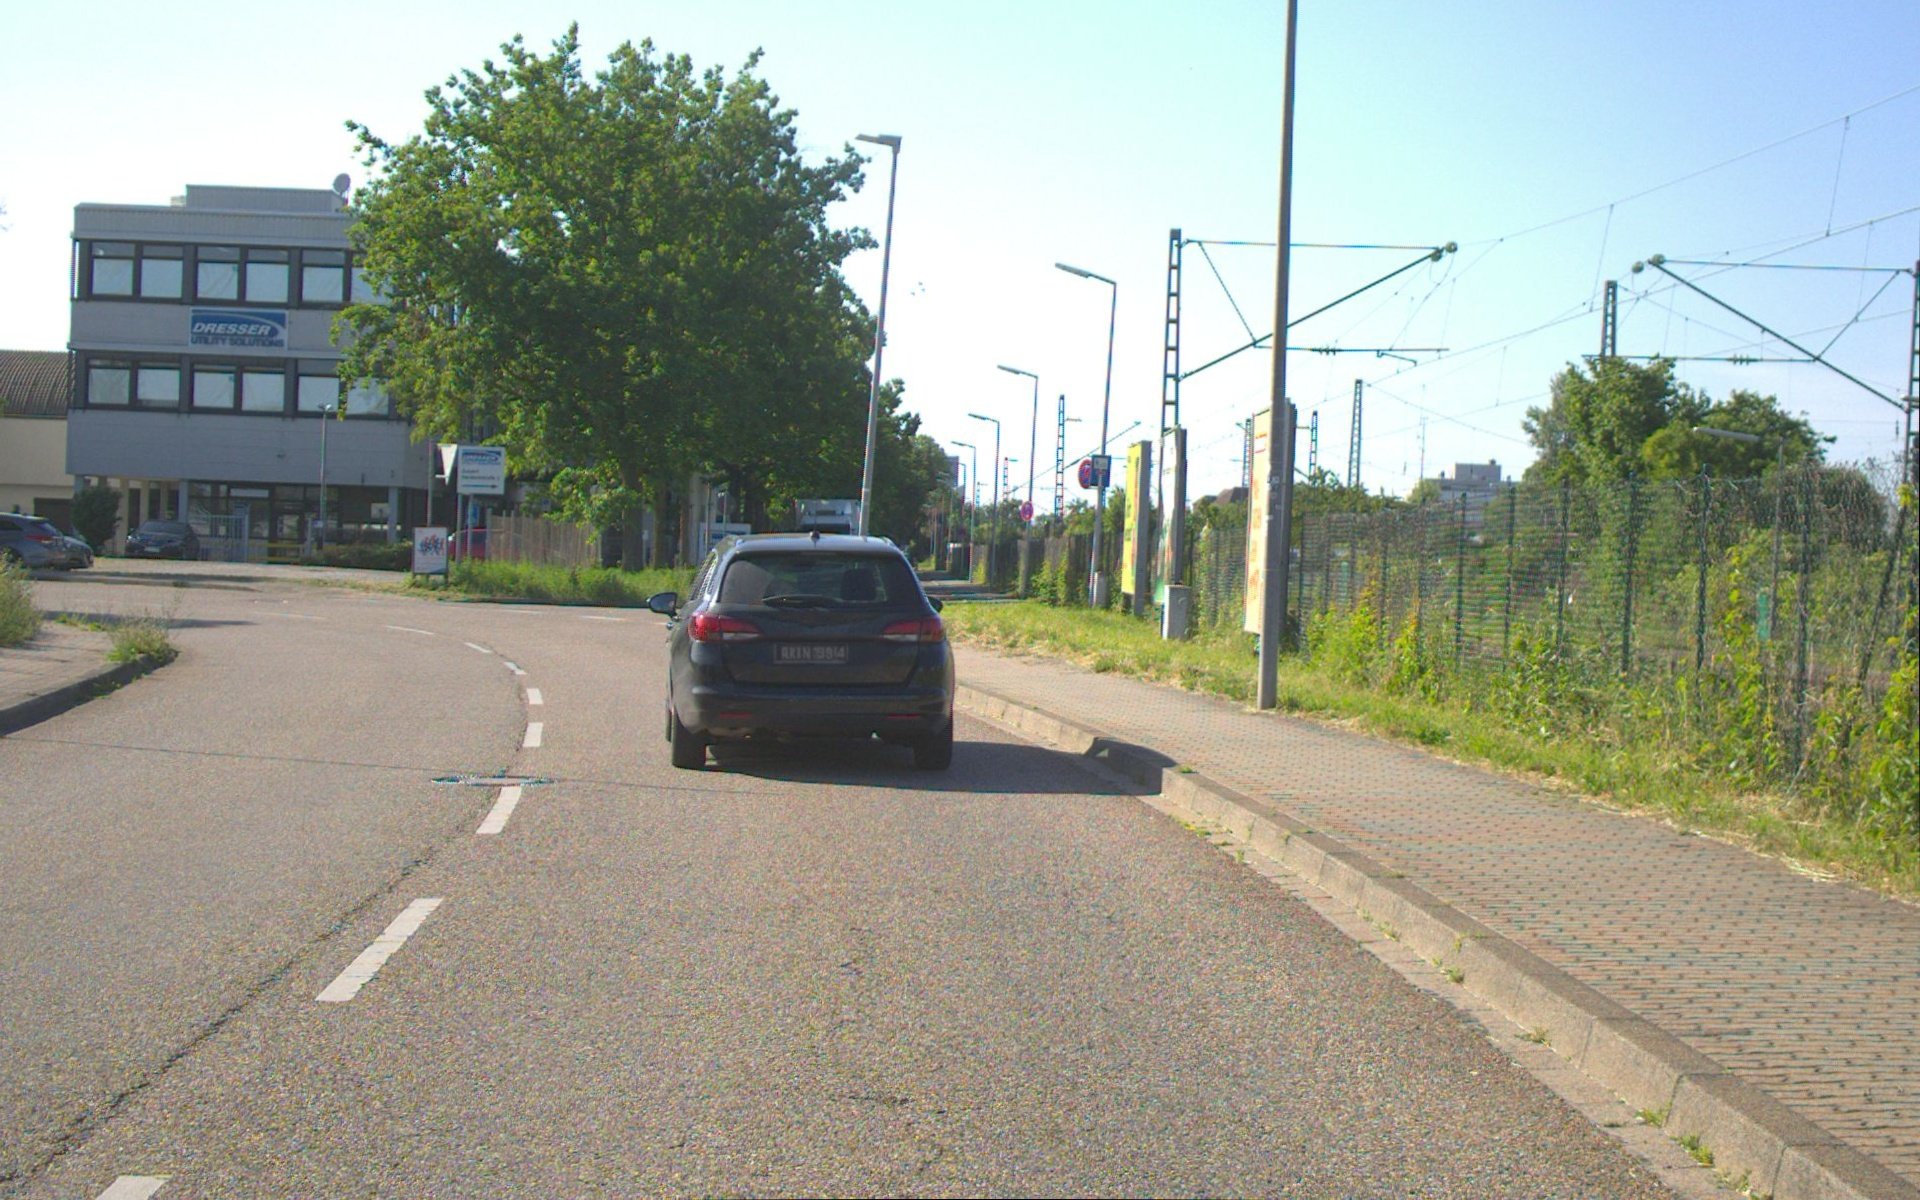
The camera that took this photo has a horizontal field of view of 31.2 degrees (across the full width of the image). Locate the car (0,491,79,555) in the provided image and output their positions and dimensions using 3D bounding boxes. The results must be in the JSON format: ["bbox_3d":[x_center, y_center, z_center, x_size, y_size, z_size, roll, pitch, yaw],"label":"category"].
[{"bbox_3d":[-23.390,-1.869,80.660,4.910,1.421,2.000,2,1,-1],"label":"car"}]

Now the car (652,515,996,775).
[{"bbox_3d":[-1.010,0.216,22.744,1.942,1.483,4.567,1,2,-6],"label":"car"}]

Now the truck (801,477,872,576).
[{"bbox_3d":[-5.280,-3.092,145.160,2.613,3.872,13.534,3,1,-3],"label":"truck"}]

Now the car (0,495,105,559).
[{"bbox_3d":[-23.434,-1.820,83.264,4.910,1.479,2.000,2,1,-1],"label":"car"}]

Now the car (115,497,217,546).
[{"bbox_3d":[-25.870,-2.572,112.141,1.994,1.479,4.927,2,2,2],"label":"car"}]

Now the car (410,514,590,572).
[{"bbox_3d":[-13.461,-1.675,100.784,4.911,1.479,2.000,2,2,4],"label":"car"}]
